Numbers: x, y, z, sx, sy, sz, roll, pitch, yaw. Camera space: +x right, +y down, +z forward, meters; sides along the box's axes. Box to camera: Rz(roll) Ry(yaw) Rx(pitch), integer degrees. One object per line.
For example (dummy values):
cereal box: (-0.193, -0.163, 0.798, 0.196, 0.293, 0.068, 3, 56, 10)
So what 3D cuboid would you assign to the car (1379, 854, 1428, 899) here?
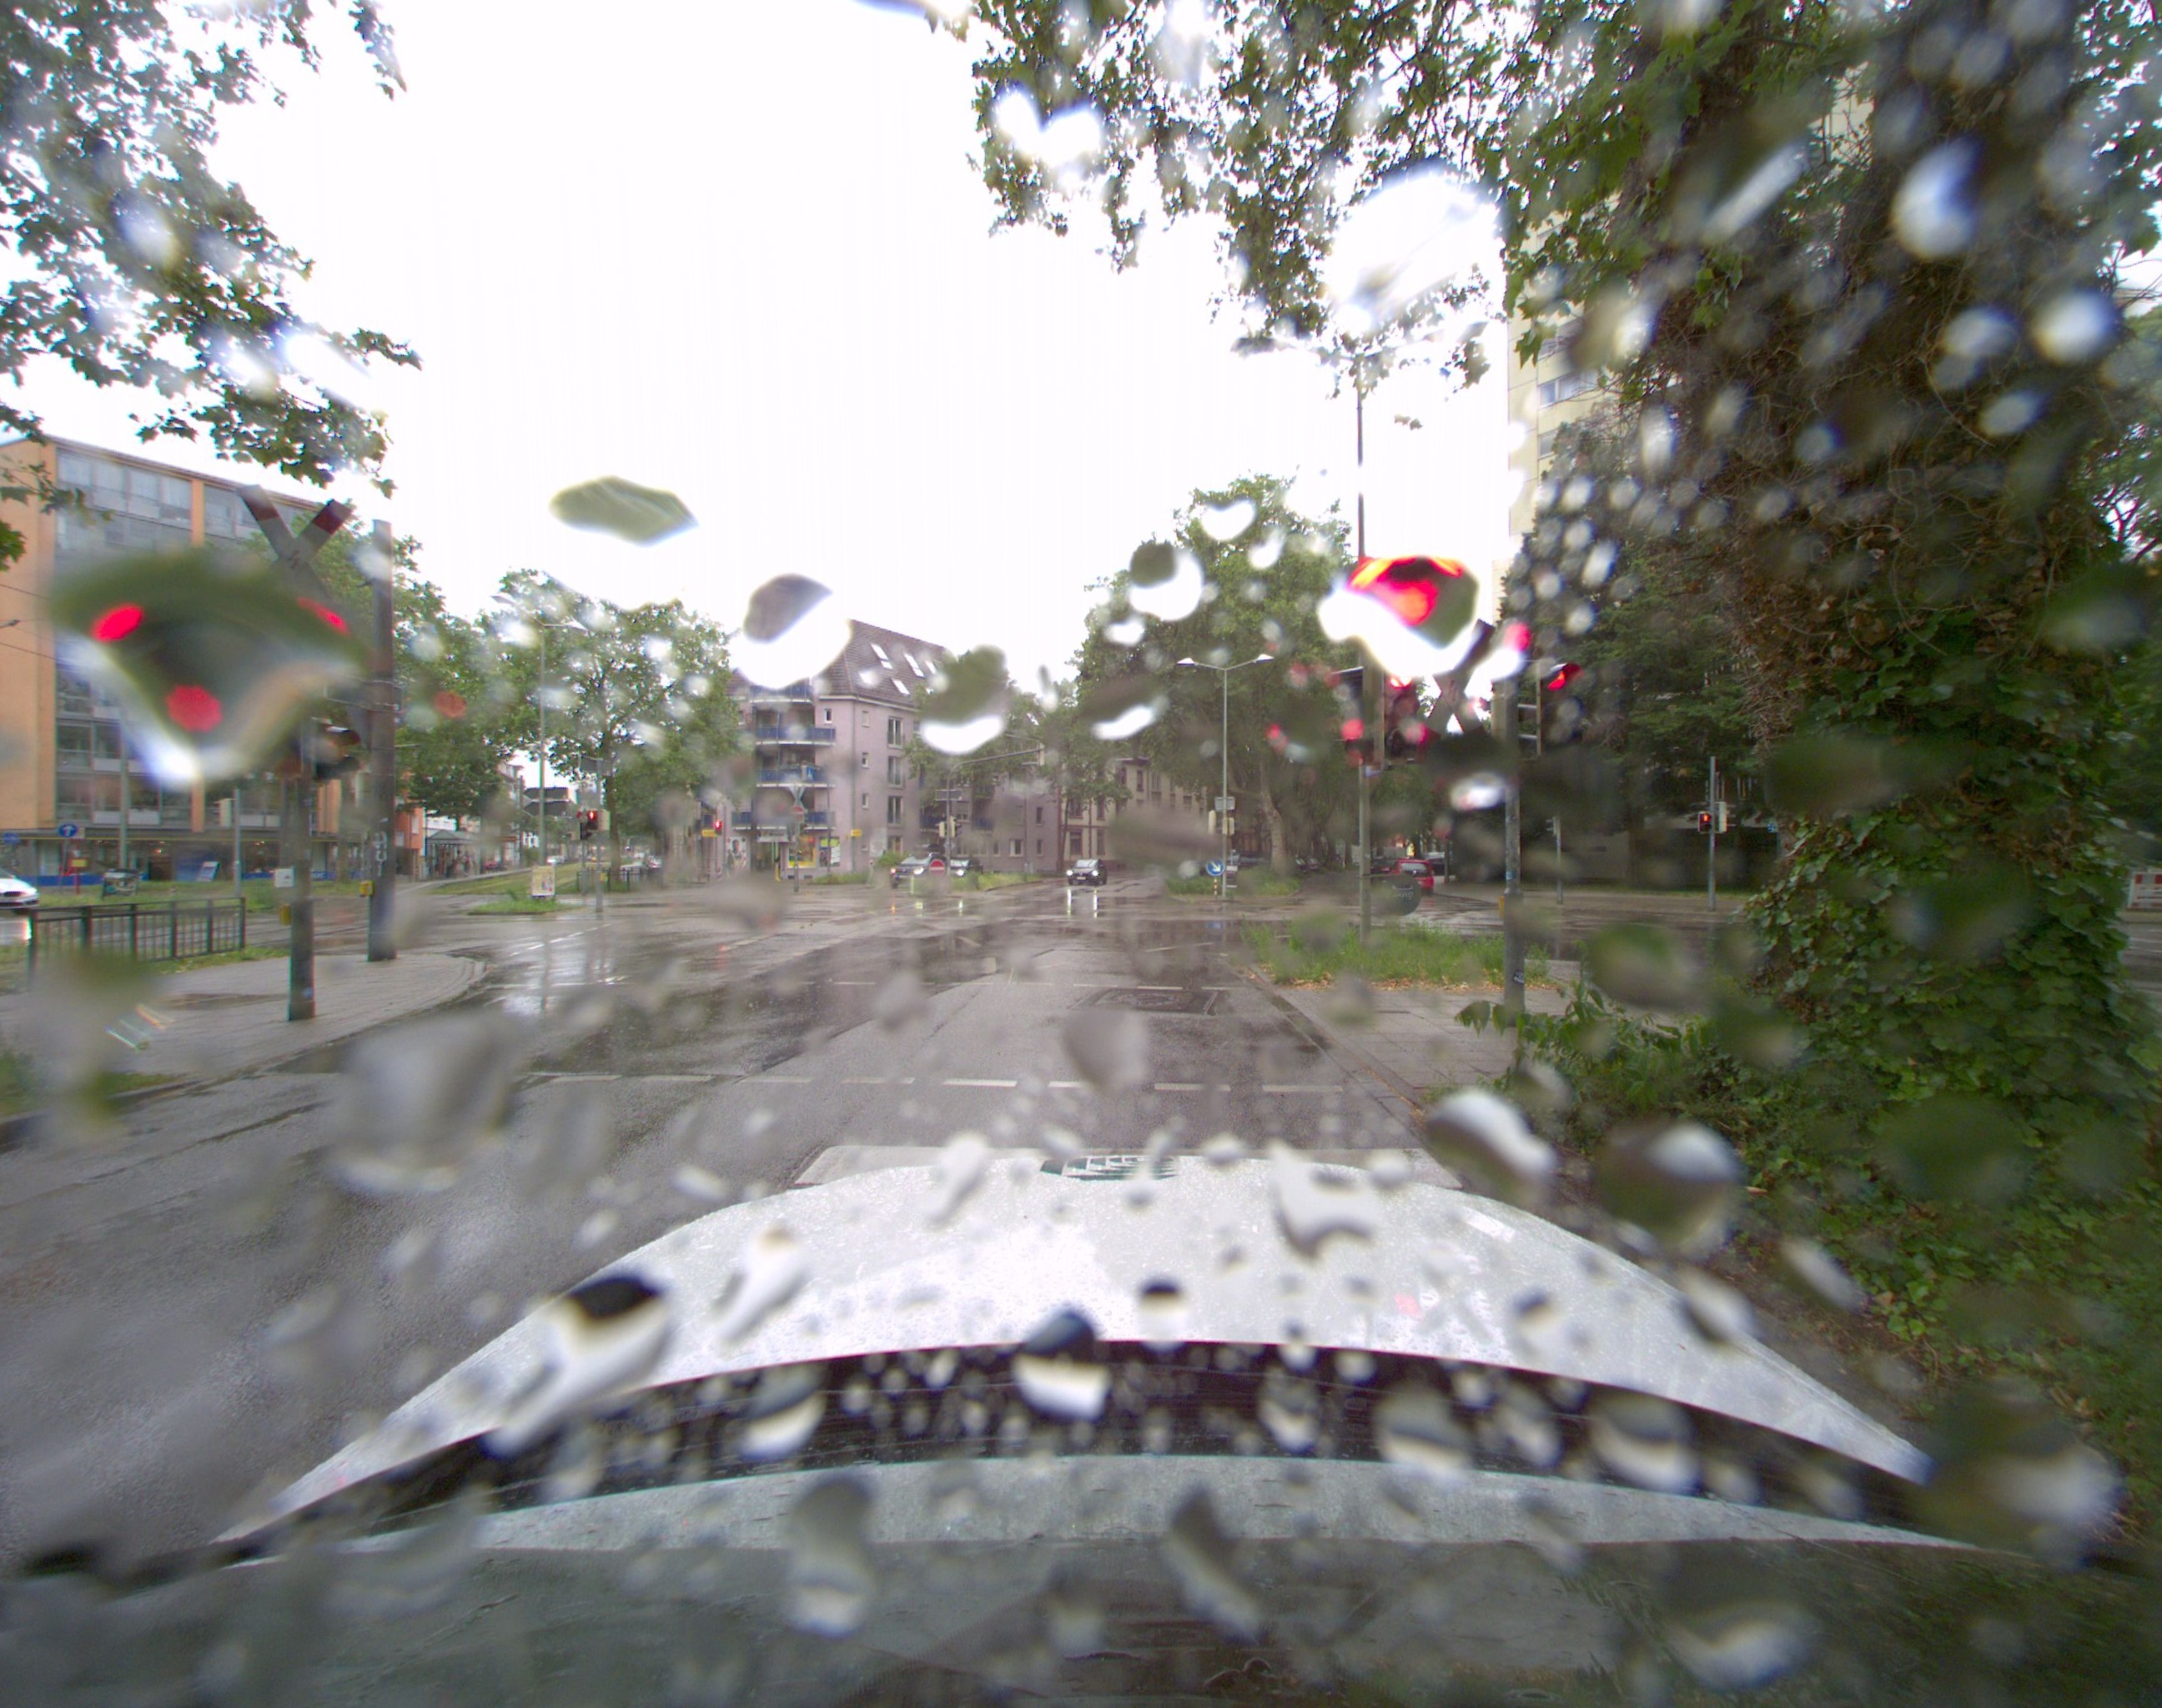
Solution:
car: (16.002, 1.080, 40.614, 1.977, 2.013, 4.019, -2, 0, 18)

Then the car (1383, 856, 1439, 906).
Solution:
car: (14.617, 1.140, 36.241, 1.977, 2.013, 4.019, -2, 0, 18)

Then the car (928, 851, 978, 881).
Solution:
car: (-7.018, 0.631, 45.066, 1.715, 1.552, 3.567, -2, 0, 8)

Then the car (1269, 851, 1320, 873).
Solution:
car: (17.062, 0.660, 65.074, 3.571, 1.618, 1.692, -2, 0, 30)

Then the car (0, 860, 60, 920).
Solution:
car: (-32.165, 1.089, 23.409, 3.978, 1.651, 1.980, -2, 0, 13)

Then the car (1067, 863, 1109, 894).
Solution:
car: (0.452, 1.365, 46.008, 1.591, 1.552, 3.572, -2, 0, 13)

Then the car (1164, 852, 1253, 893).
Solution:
car: (5.166, 0.748, 32.916, 3.457, 1.523, 1.524, -2, 0, 10)

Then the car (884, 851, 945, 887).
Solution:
car: (-7.938, 0.680, 39.151, 1.715, 1.552, 3.567, -2, 0, 8)

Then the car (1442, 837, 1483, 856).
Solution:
car: (42.628, -0.813, 91.129, 3.953, 2.013, 1.716, -2, 0, 21)

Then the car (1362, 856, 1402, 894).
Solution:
car: (17.502, 1.199, 47.441, 1.977, 2.013, 4.019, -2, 0, 18)
